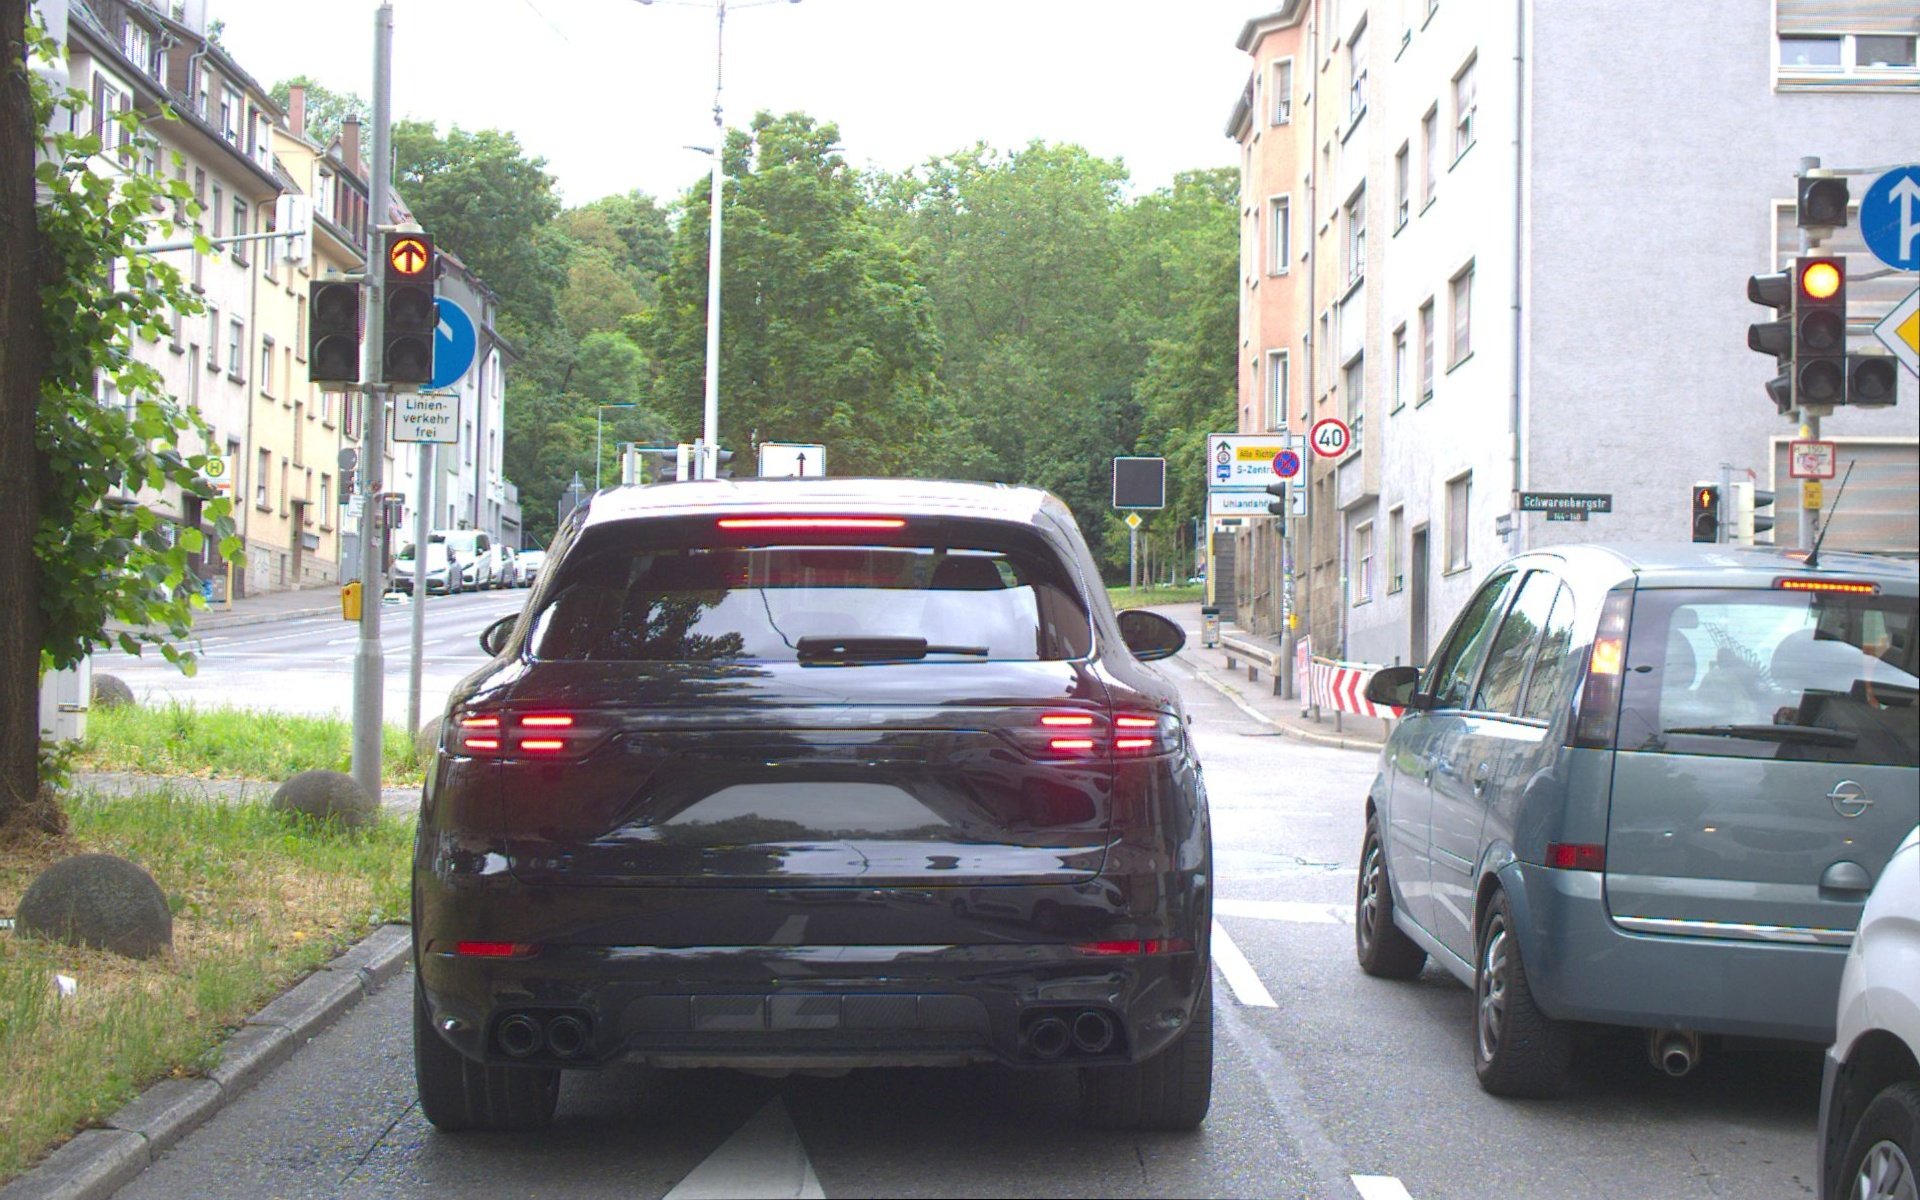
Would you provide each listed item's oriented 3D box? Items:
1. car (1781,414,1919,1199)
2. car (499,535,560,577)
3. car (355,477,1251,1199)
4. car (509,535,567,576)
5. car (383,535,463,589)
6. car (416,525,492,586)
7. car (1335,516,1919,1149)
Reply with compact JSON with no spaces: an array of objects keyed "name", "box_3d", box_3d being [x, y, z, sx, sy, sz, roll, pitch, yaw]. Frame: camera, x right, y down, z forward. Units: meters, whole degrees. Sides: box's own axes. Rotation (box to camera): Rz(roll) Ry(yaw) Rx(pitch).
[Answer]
[{"name":"car","box_3d":[2.449,0.608,4.463,1.850,1.819,5.019,2,-1,4]},{"name":"car","box_3d":[-15.996,-1.645,127.817,1.794,1.505,4.000,1,1,-1]},{"name":"car","box_3d":[-0.324,0.509,9.686,1.994,1.647,4.000,0,1,1]},{"name":"car","box_3d":[-16.279,-1.737,132.714,1.794,1.505,4.000,1,1,-1]},{"name":"car","box_3d":[-15.814,-1.139,101.411,1.794,1.505,4.000,1,1,-1]},{"name":"car","box_3d":[-15.637,-1.395,106.433,1.794,1.804,4.000,1,1,-1]},{"name":"car","box_3d":[2.333,0.614,10.813,1.752,1.588,3.630,4,1,-1]}]
